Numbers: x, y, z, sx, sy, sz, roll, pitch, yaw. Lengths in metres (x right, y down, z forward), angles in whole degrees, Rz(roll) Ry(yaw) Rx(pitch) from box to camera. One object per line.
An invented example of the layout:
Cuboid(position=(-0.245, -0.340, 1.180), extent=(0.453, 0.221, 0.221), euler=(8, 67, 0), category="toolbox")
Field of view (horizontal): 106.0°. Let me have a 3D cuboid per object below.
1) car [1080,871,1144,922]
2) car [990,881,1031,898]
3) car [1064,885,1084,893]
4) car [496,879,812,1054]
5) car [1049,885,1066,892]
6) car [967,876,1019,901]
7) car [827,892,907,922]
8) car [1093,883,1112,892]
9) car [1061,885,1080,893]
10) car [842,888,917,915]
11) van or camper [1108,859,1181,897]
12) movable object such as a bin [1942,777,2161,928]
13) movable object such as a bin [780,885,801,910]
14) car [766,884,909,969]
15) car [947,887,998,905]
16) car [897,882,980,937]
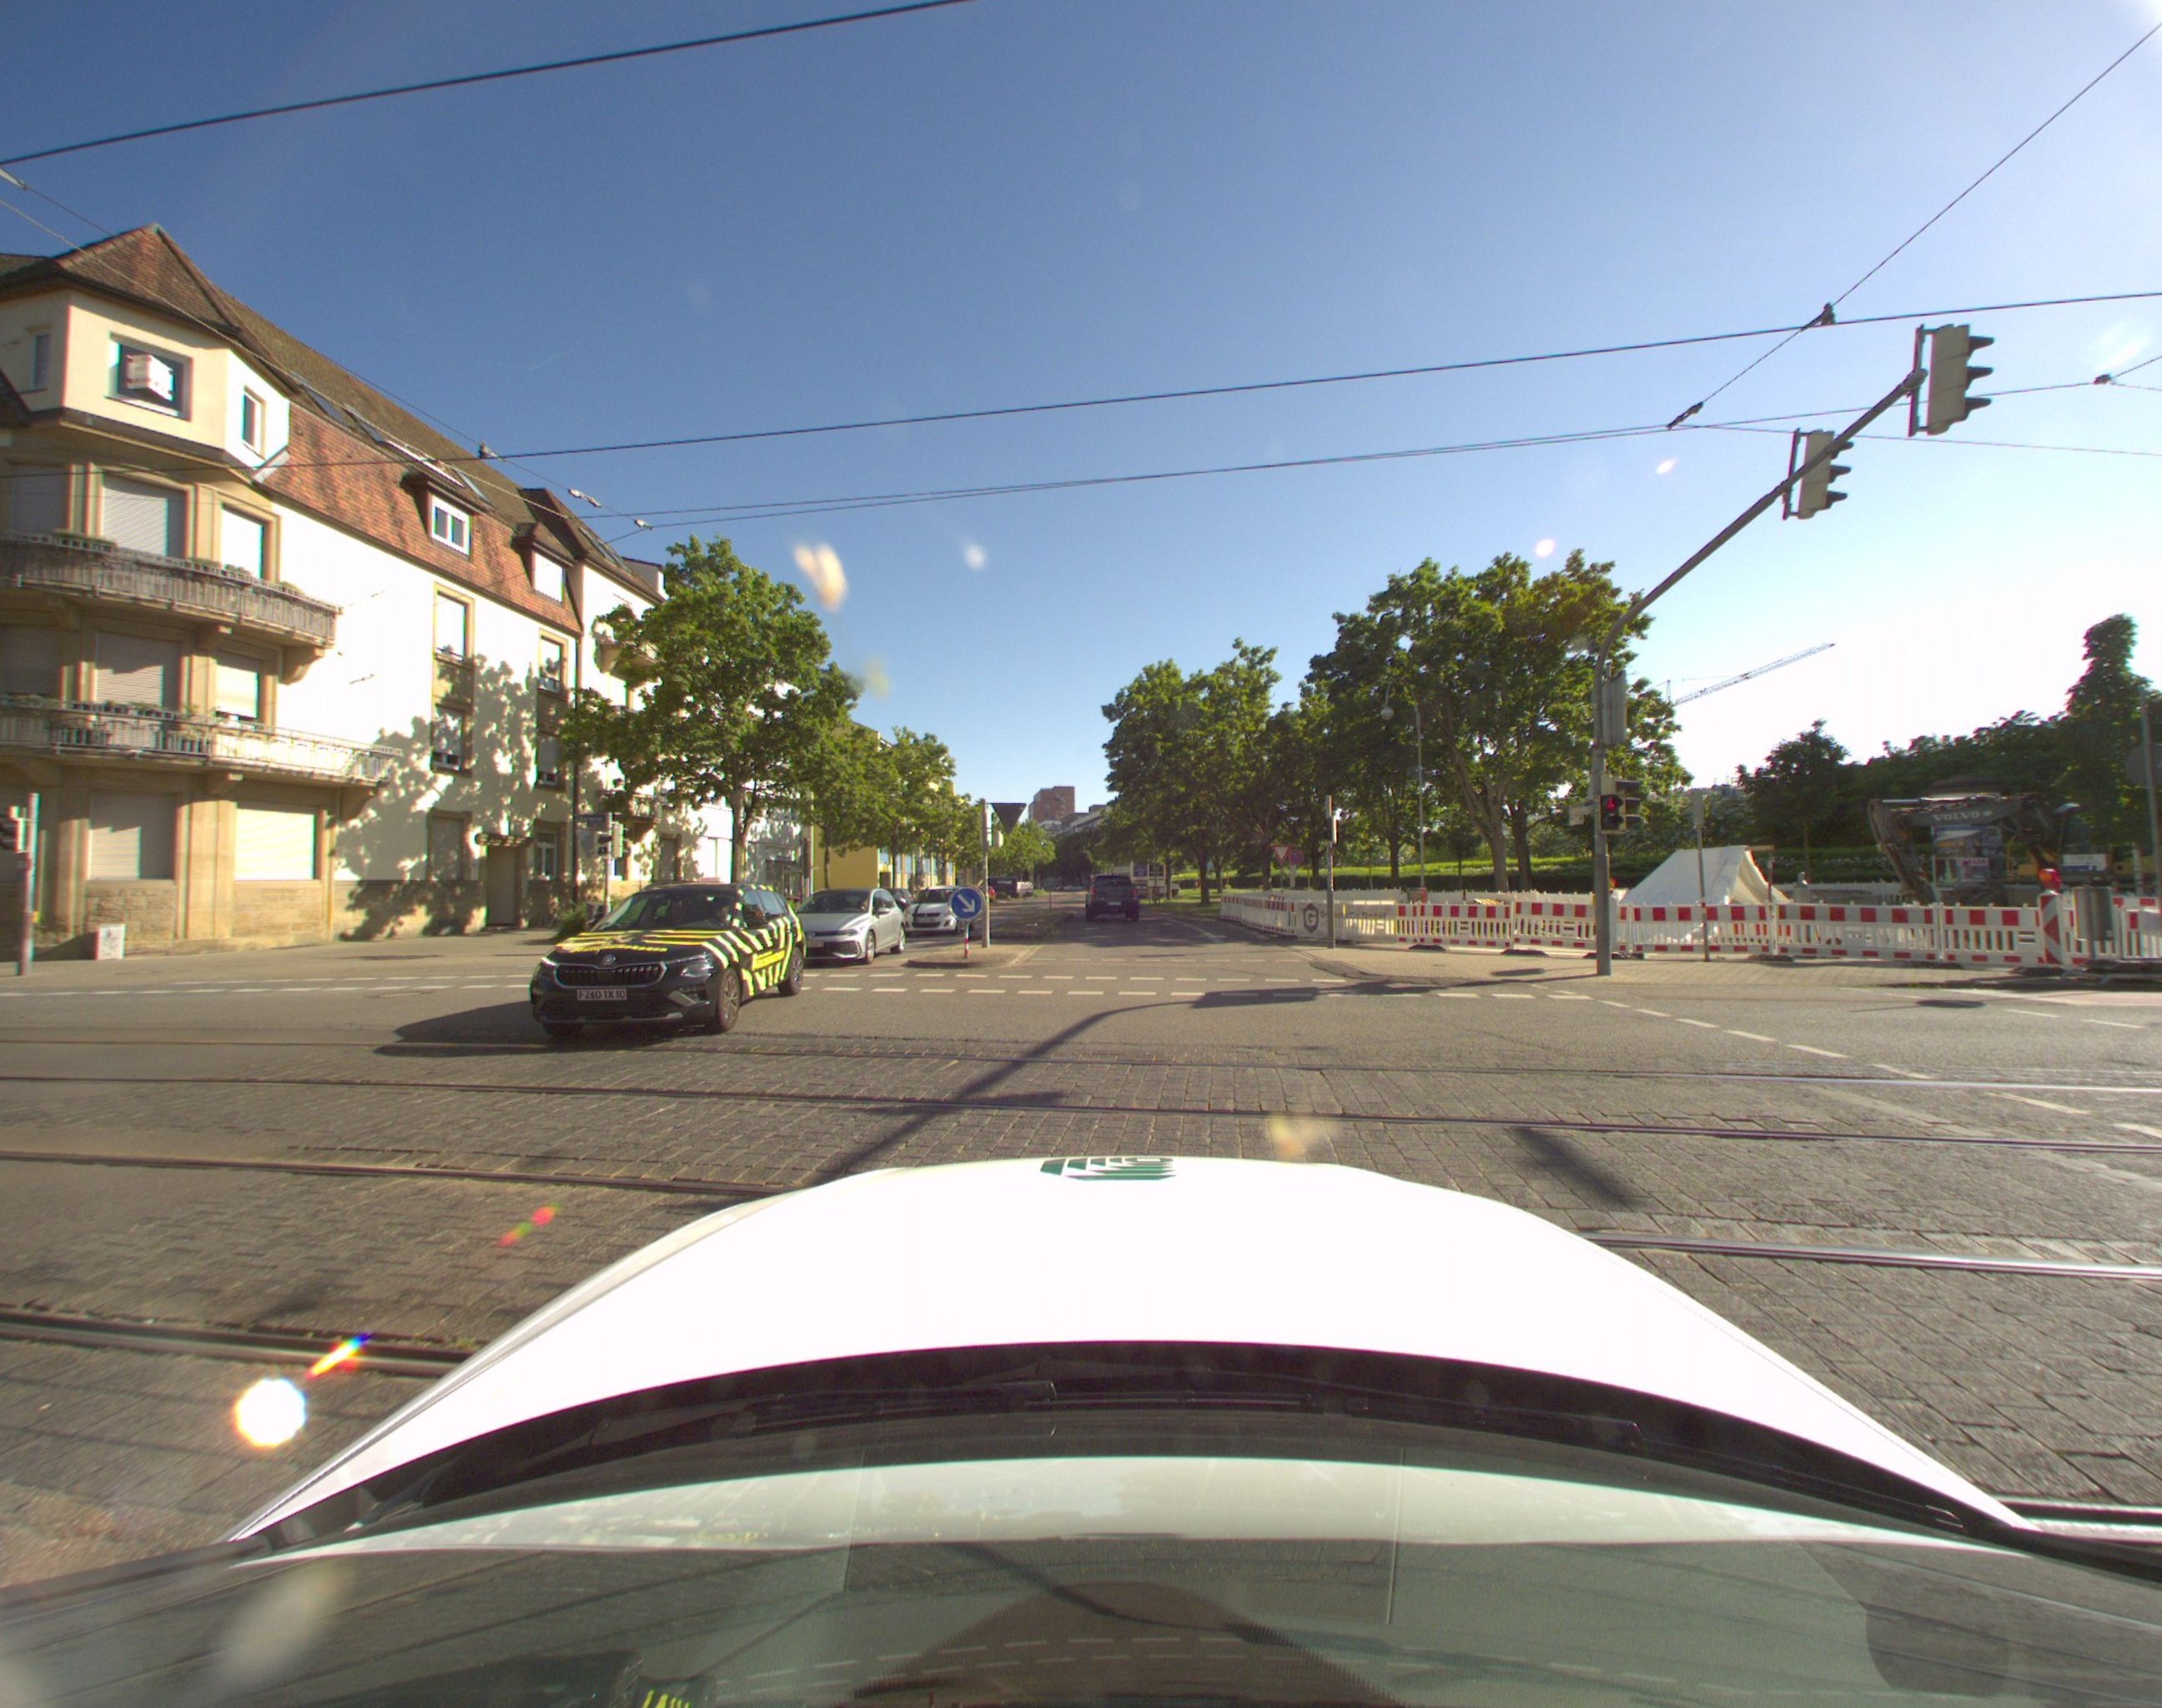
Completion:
Cuboid(position=(1.124, 1.626, 32.517), extent=(2.128, 1.836, 4.934), euler=(-1, -2, -3), category="car")
Cuboid(position=(-9.137, 4.627, 105.830), extent=(4.918, 2.083, 1.964), euler=(0, -3, -34), category="car")
Cuboid(position=(-1.379, 7.220, 167.995), extent=(3.944, 1.397, 1.512), euler=(-3, -2, -8), category="car")
Cuboid(position=(-4.503, 1.064, 9.387), extent=(1.785, 1.514, 4.107), euler=(-1, -2, -6), category="car")
Cuboid(position=(-5.496, 8.181, 191.656), extent=(3.944, 1.397, 1.512), euler=(-3, -2, -8), category="car")
Cuboid(position=(-9.495, 3.716, 87.957), extent=(5.285, 2.546, 1.969), euler=(0, -2, -24), category="car")
Cuboid(position=(-11.710, 2.870, 44.609), extent=(3.898, 1.510, 1.810), euler=(1, -3, -31), category="car")
Cuboid(position=(3.619, 5.679, 138.006), extent=(3.234, 1.277, 1.516), euler=(-3, -2, 0), category="car")
Cuboid(position=(-2.284, 7.471, 175.066), extent=(3.944, 1.397, 1.512), euler=(-3, -2, -8), category="car")
Cuboid(position=(-11.784, 2.756, 47.608), extent=(3.898, 1.510, 1.810), euler=(1, -3, -30), category="car")
Cuboid(position=(5.426, 2.124, 70.748), extent=(6.059, 2.929, 2.575), euler=(-3, -2, 0), category="van or camper")
Cuboid(position=(24.613, 0.012, 19.616), extent=(4.679, 3.364, 2.834), euler=(0, -2, 0), category="movable object such as a bin")
Cuboid(position=(-11.480, 1.706, 32.179), extent=(0.510, 0.976, 0.640), euler=(0, -2, 12), category="movable object such as a bin")
Cuboid(position=(-4.723, 1.360, 16.379), extent=(1.702, 1.452, 3.849), euler=(-1, -2, 0), category="car")
Cuboid(position=(-10.335, 4.000, 77.316), extent=(4.426, 1.552, 1.906), euler=(0, -2, -24), category="car")
Cuboid(position=(-4.393, 1.686, 25.690), extent=(1.698, 1.513, 3.865), euler=(-3, -2, 3), category="car")
